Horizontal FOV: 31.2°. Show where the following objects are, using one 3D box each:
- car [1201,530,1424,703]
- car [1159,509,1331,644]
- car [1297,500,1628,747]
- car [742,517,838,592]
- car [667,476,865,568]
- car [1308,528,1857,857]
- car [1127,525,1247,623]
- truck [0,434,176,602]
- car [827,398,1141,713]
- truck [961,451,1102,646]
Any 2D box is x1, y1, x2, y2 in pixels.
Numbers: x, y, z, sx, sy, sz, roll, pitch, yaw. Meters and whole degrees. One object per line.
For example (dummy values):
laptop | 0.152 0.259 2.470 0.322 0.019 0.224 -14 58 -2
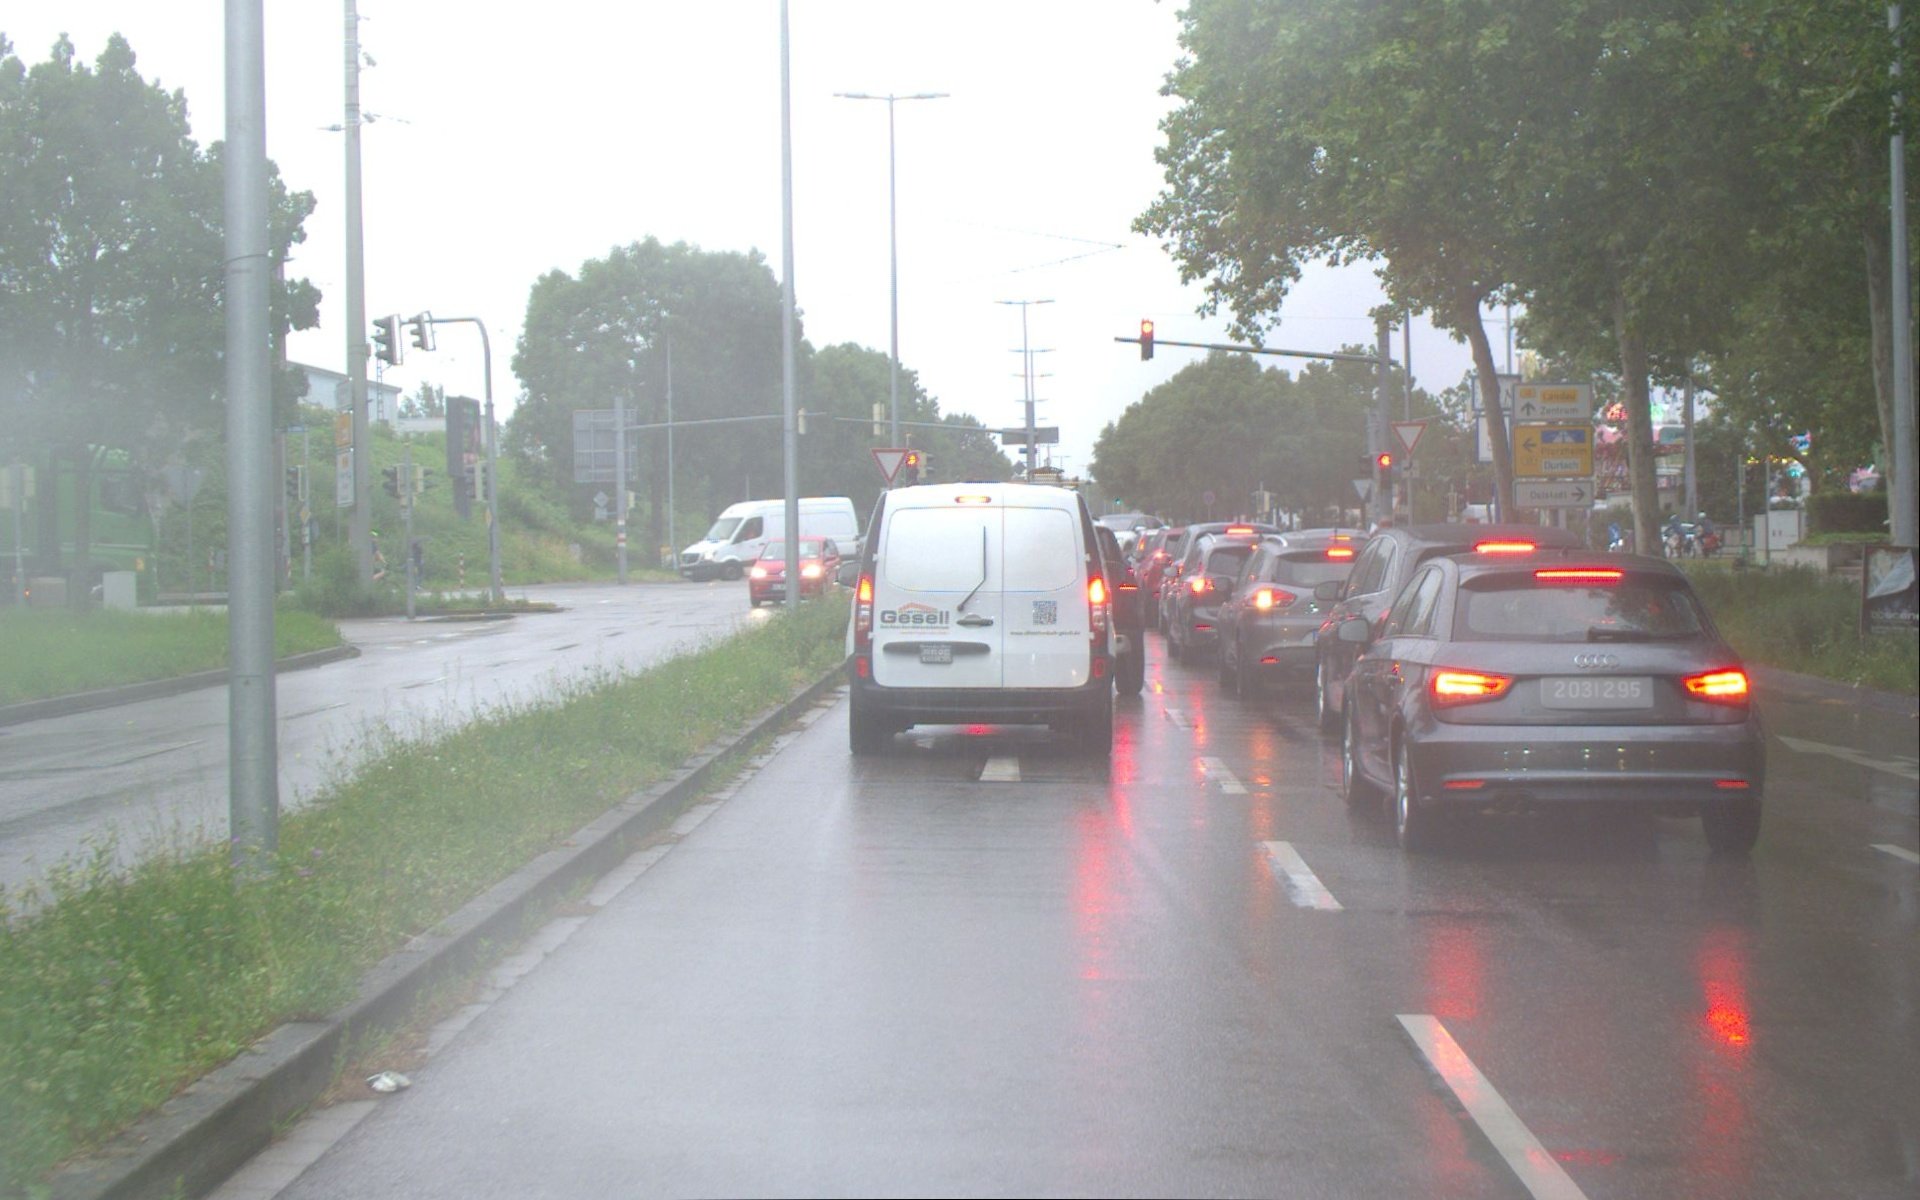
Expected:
car | 3.168 0.104 31.494 1.711 1.440 4.000 0 2 1
car | 3.189 -0.306 39.057 1.711 1.440 4.000 0 2 1
car | 3.422 0.094 24.069 1.708 1.544 4.001 0 2 0
car | -3.673 -1.007 74.664 1.716 1.508 3.614 -2 2 2
car | -6.050 -2.419 107.684 6.001 2.734 2.000 0 0 -35
car | 2.968 0.374 17.261 1.993 1.447 4.000 0 1 0
car | 3.528 -0.434 53.957 1.711 1.440 4.000 0 2 1
truck | -21.559 -1.705 71.199 10.109 3.440 2.658 0 0 -35
car | 0.145 -0.279 23.918 1.993 2.007 4.000 0 0 0
truck | 0.910 -0.686 45.561 1.756 2.458 4.000 0 1 0
